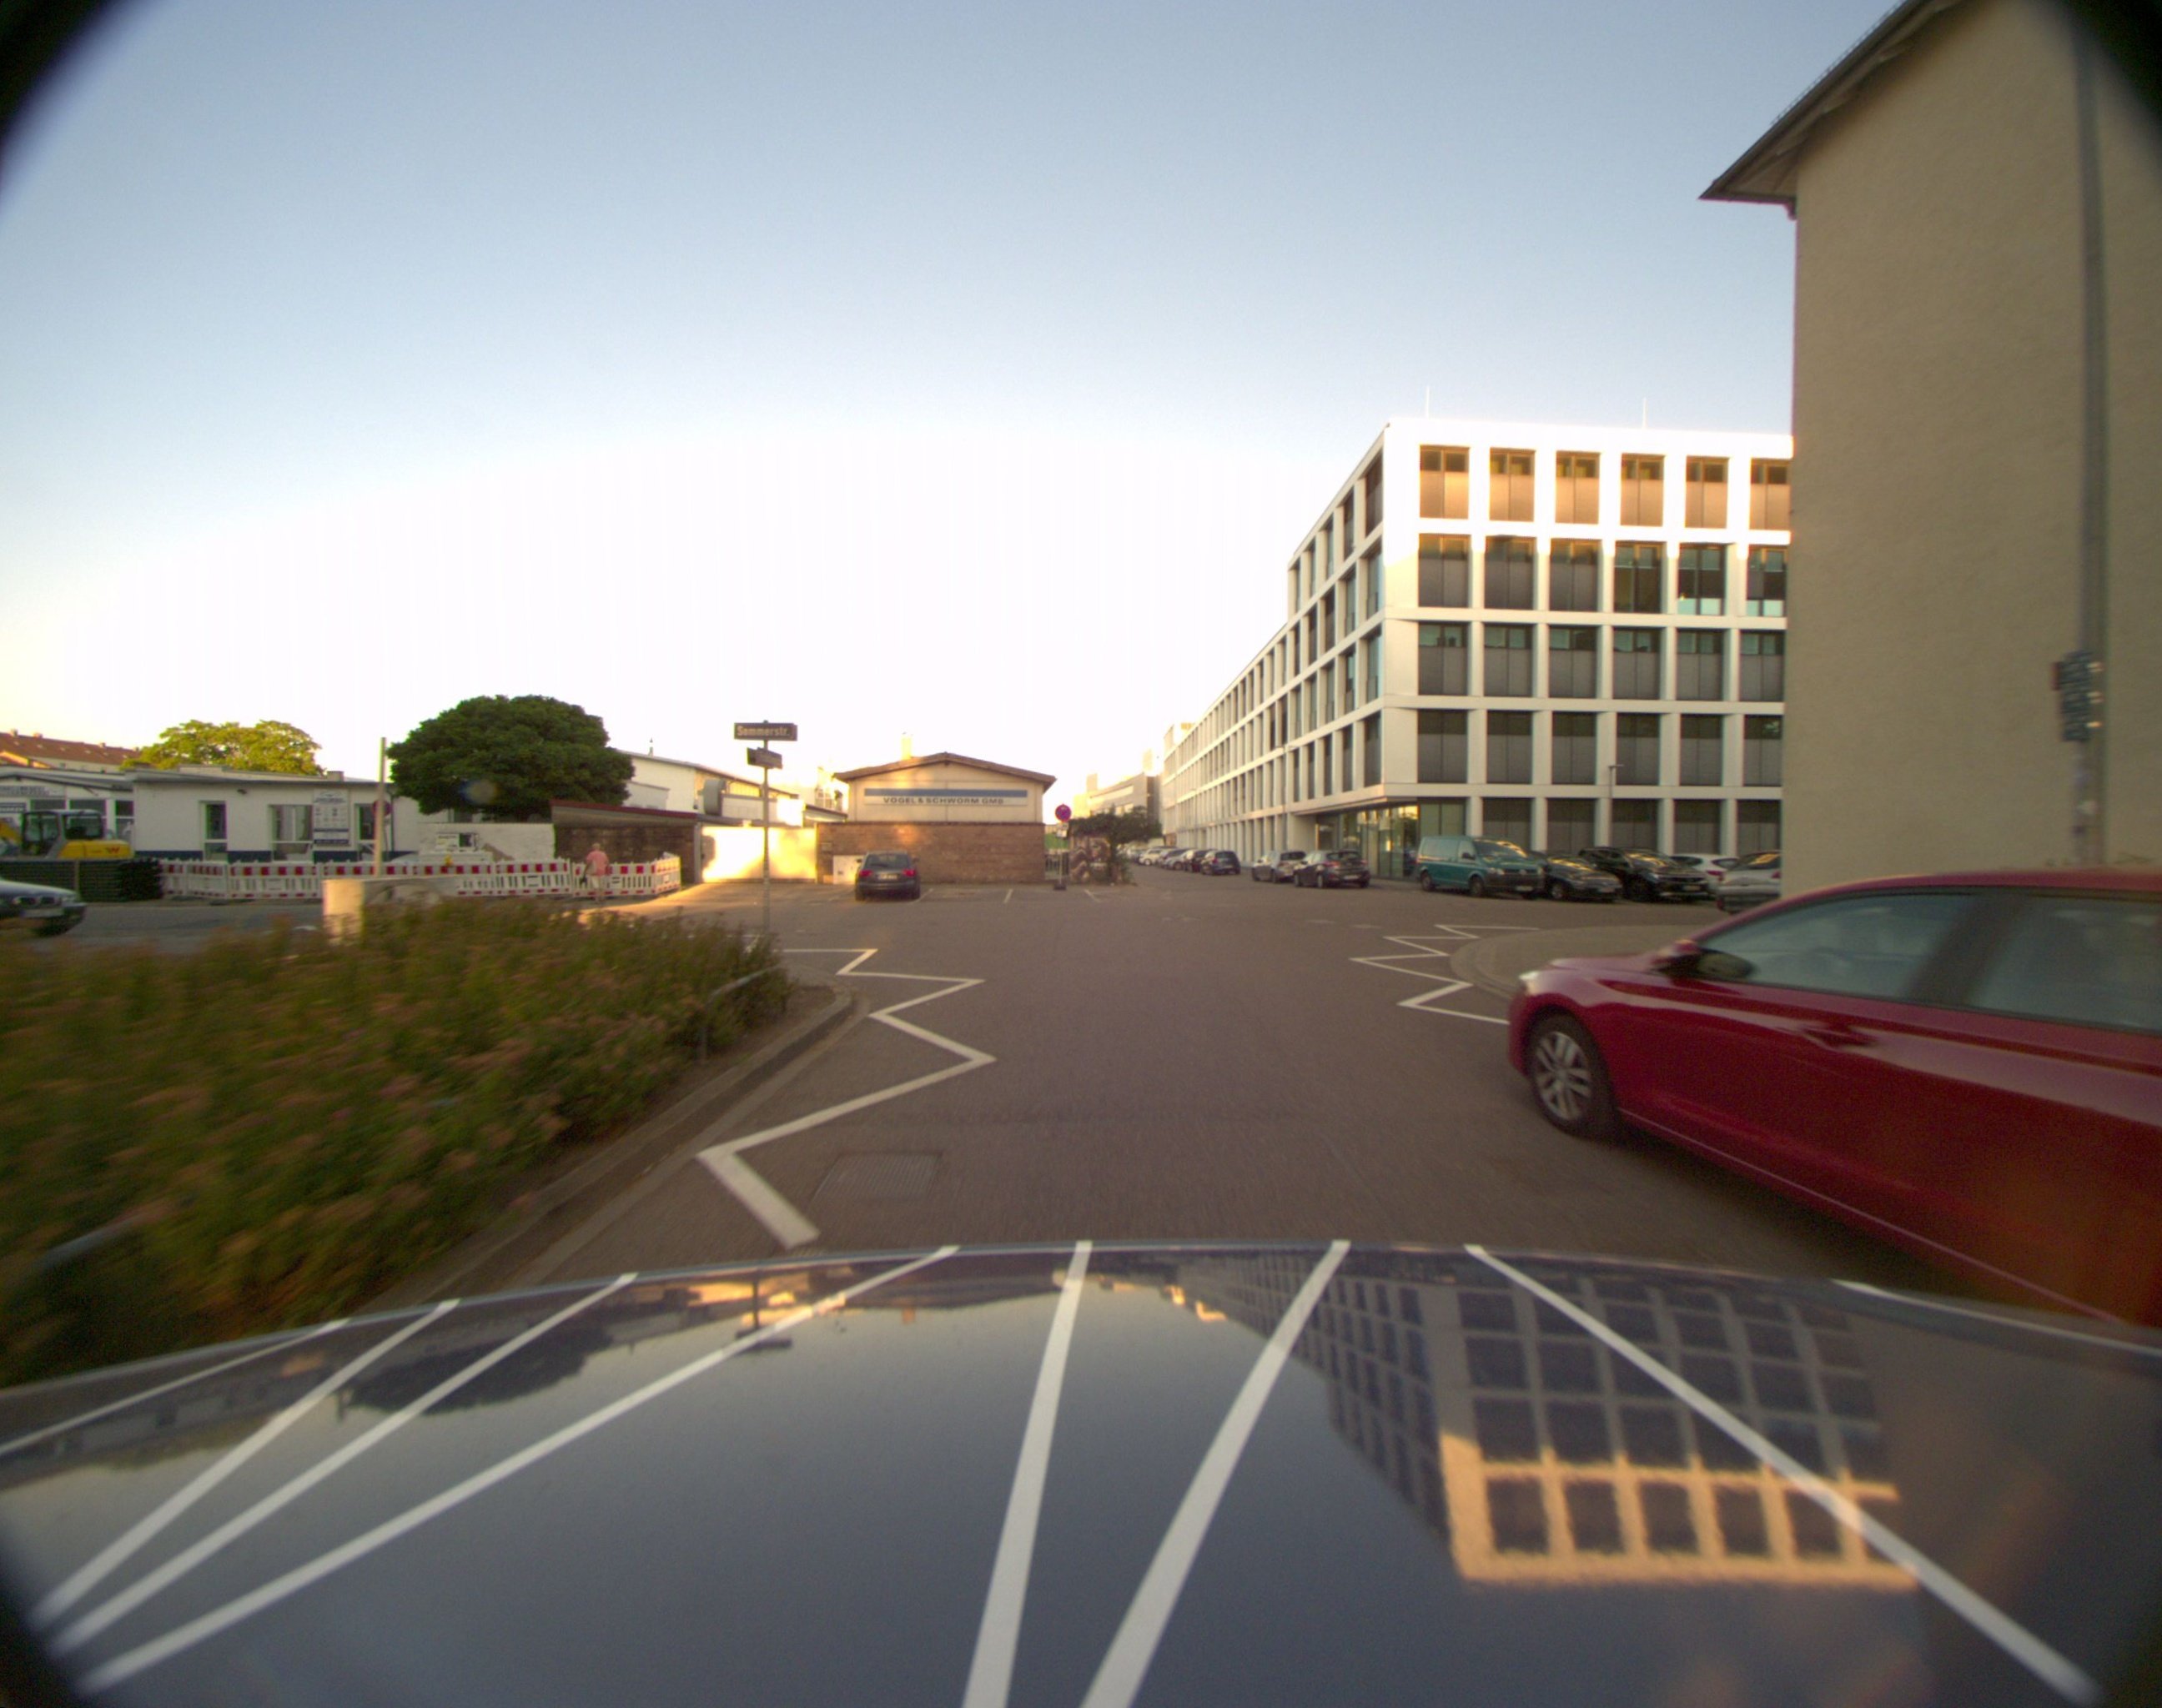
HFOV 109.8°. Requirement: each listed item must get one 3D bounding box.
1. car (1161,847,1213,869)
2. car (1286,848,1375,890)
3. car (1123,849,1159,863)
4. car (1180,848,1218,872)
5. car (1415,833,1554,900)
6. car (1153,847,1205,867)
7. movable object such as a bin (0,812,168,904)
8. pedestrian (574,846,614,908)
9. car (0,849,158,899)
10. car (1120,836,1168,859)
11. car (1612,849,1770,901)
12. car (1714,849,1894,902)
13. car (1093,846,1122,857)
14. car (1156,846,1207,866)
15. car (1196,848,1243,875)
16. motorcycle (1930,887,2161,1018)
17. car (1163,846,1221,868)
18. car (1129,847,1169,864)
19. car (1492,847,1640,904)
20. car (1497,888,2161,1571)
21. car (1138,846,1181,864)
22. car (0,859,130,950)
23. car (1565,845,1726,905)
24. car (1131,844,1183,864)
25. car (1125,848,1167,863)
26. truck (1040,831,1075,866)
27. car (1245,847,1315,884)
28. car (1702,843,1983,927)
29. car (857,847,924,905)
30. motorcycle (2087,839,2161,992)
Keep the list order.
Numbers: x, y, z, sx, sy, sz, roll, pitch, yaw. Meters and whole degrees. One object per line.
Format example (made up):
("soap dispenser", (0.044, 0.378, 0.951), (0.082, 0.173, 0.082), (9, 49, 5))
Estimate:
("car", (7.989, 0.310, 57.436), (3.664, 1.502, 1.687), (-1, 0, -1))
("car", (9.574, 0.532, 29.517), (1.784, 1.470, 4.329), (-2, 0, -3))
("car", (6.576, 0.194, 83.570), (3.718, 1.486, 1.707), (-1, 0, -2))
("car", (7.817, 0.359, 50.840), (1.652, 1.430, 4.201), (-4, 0, -2))
("car", (12.872, 0.332, 24.636), (1.803, 1.968, 4.686), (0, 1, -4))
("car", (7.965, 0.264, 62.186), (3.974, 1.502, 1.796), (-1, 0, 0))
("movable object such as a bin", (-32.053, 0.121, 23.550), (5.192, 2.644, 2.677), (0, 0, 12))
("pedestrian", (-13.432, 0.636, 20.950), (0.628, 1.655, 0.788), (-1, -1, 44))
("car", (-36.730, 0.666, 27.374), (1.846, 1.694, 4.003), (0, 0, 11))
("car", (7.294, -0.747, 88.142), (5.394, 2.617, 2.078), (-1, 0, 0))
("car", (20.140, 0.629, 25.366), (1.734, 1.448, 4.196), (0, 2, -3))
("car", (23.367, 0.629, 24.817), (1.734, 1.448, 4.196), (0, 2, -3))
("car", (4.926, -0.546, 142.866), (5.085, 1.870, 1.888), (-2, 0, -8))
("car", (7.875, 0.147, 59.741), (3.664, 1.502, 1.687), (-1, 0, -1))
("car", (8.113, 0.428, 44.862), (1.653, 1.430, 4.183), (-4, 0, -4))
("motorcycle", (9.926, 0.928, 7.805), (0.724, 1.073, 2.084), (0, 0, 21))
("car", (7.975, 0.239, 54.734), (3.936, 1.502, 1.687), (-1, 0, -1))
("car", (6.754, 0.153, 75.782), (3.792, 1.513, 1.693), (-1, 0, -3))
("car", (15.380, 0.621, 24.432), (1.784, 1.541, 4.328), (0, 2, -3))
("car", (3.434, 0.940, 2.470), (1.850, 1.464, 4.077), (0, 0, -2))
("car", (6.918, 0.117, 67.175), (3.675, 1.502, 1.696), (-1, 0, 2))
("car", (-18.218, 0.784, 11.862), (3.998, 1.363, 2.000), (0, -2, -4))
("car", (17.874, 0.582, 24.361), (1.734, 1.650, 4.328), (0, 2, -3))
("car", (6.971, 0.001, 69.758), (4.629, 1.696, 2.005), (-1, 0, 2))
("car", (6.914, 0.149, 80.849), (4.319, 1.486, 1.795), (-1, 0, 0))
("truck", (-1.635, -0.293, 50.052), (2.104, 2.187, 5.710), (0, -1, -3))
("car", (9.105, 0.508, 35.099), (1.715, 1.470, 4.182), (-4, 0, -6))
("car", (15.500, 0.651, 15.611), (4.019, 1.607, 1.881), (0, -4, -5))
("car", (-5.877, 0.584, 23.582), (1.833, 1.522, 4.721), (0, 2, -14))
("motorcycle", (8.333, 0.466, 5.303), (0.689, 1.153, 2.037), (0, 0, 24))
